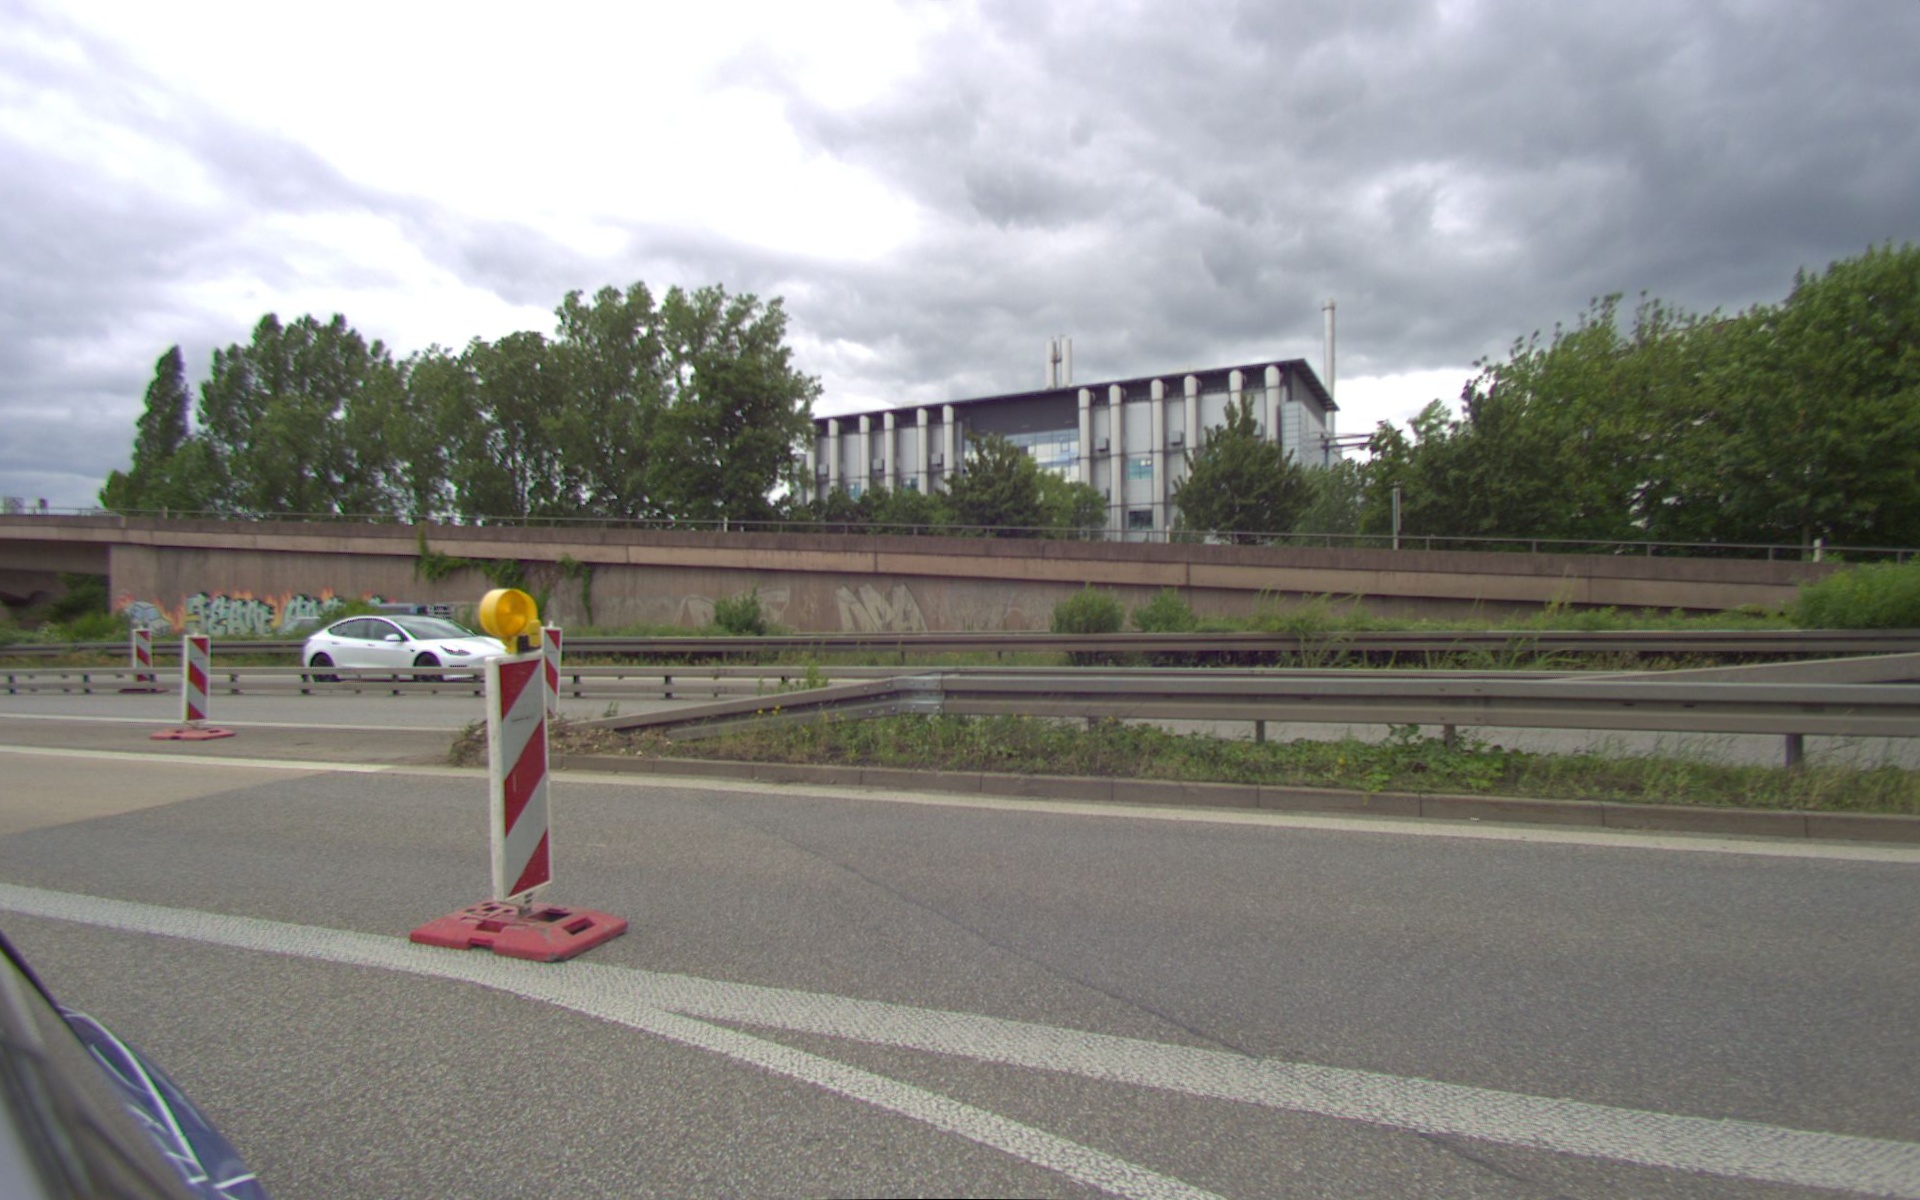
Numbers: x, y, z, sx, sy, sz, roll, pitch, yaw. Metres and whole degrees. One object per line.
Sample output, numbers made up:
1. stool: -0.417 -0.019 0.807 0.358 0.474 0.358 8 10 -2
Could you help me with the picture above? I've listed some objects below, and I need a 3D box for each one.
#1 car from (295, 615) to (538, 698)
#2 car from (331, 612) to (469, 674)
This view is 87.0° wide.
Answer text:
1. car: -11.081 1.132 20.660 4.427 1.553 1.986 -2 -2 21
2. car: -19.558 1.511 35.344 4.257 2.029 1.985 -2 -1 22
